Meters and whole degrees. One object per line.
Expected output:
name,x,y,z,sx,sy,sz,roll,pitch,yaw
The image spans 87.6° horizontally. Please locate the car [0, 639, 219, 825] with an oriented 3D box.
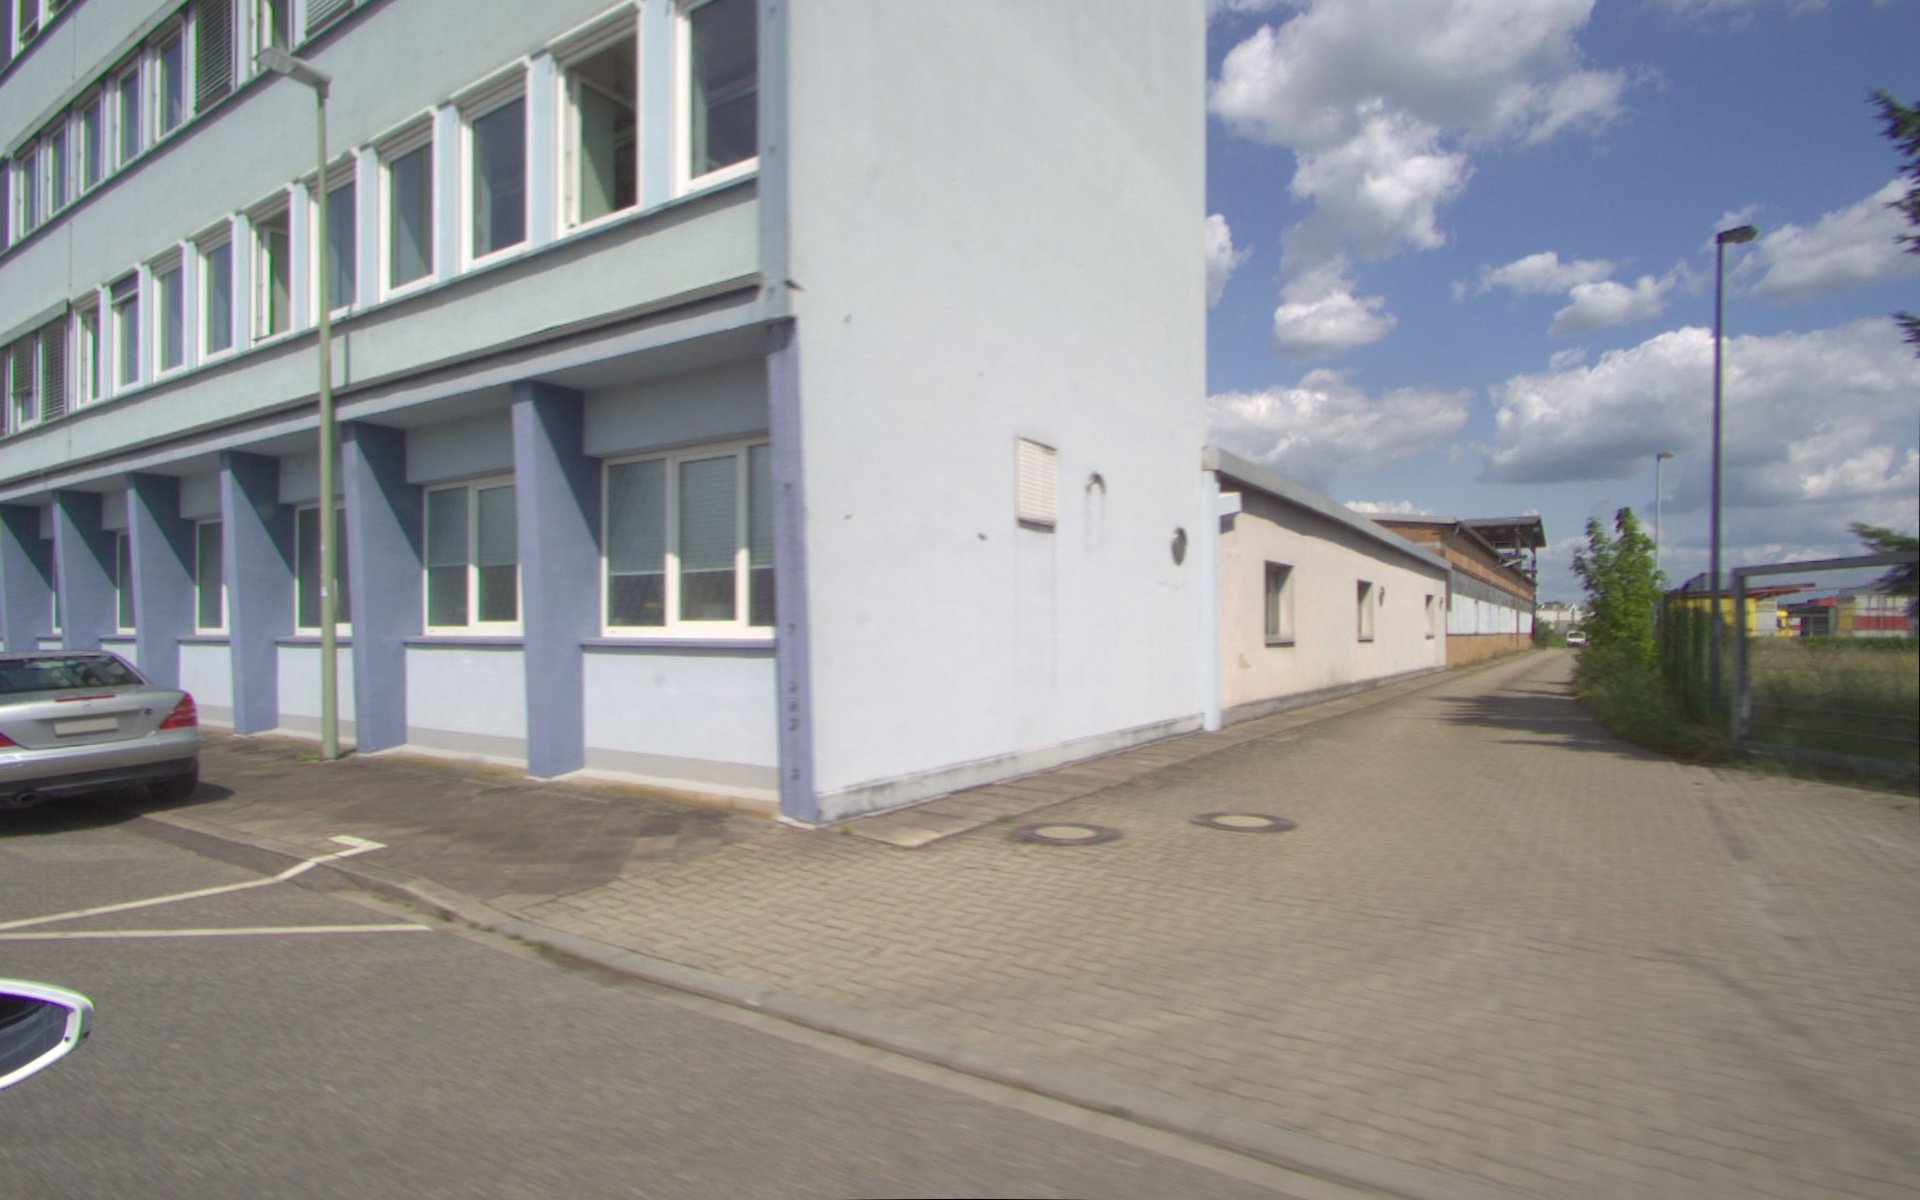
car,-8.163,0.992,8.562,3.943,1.262,1.644,-1,-2,33
